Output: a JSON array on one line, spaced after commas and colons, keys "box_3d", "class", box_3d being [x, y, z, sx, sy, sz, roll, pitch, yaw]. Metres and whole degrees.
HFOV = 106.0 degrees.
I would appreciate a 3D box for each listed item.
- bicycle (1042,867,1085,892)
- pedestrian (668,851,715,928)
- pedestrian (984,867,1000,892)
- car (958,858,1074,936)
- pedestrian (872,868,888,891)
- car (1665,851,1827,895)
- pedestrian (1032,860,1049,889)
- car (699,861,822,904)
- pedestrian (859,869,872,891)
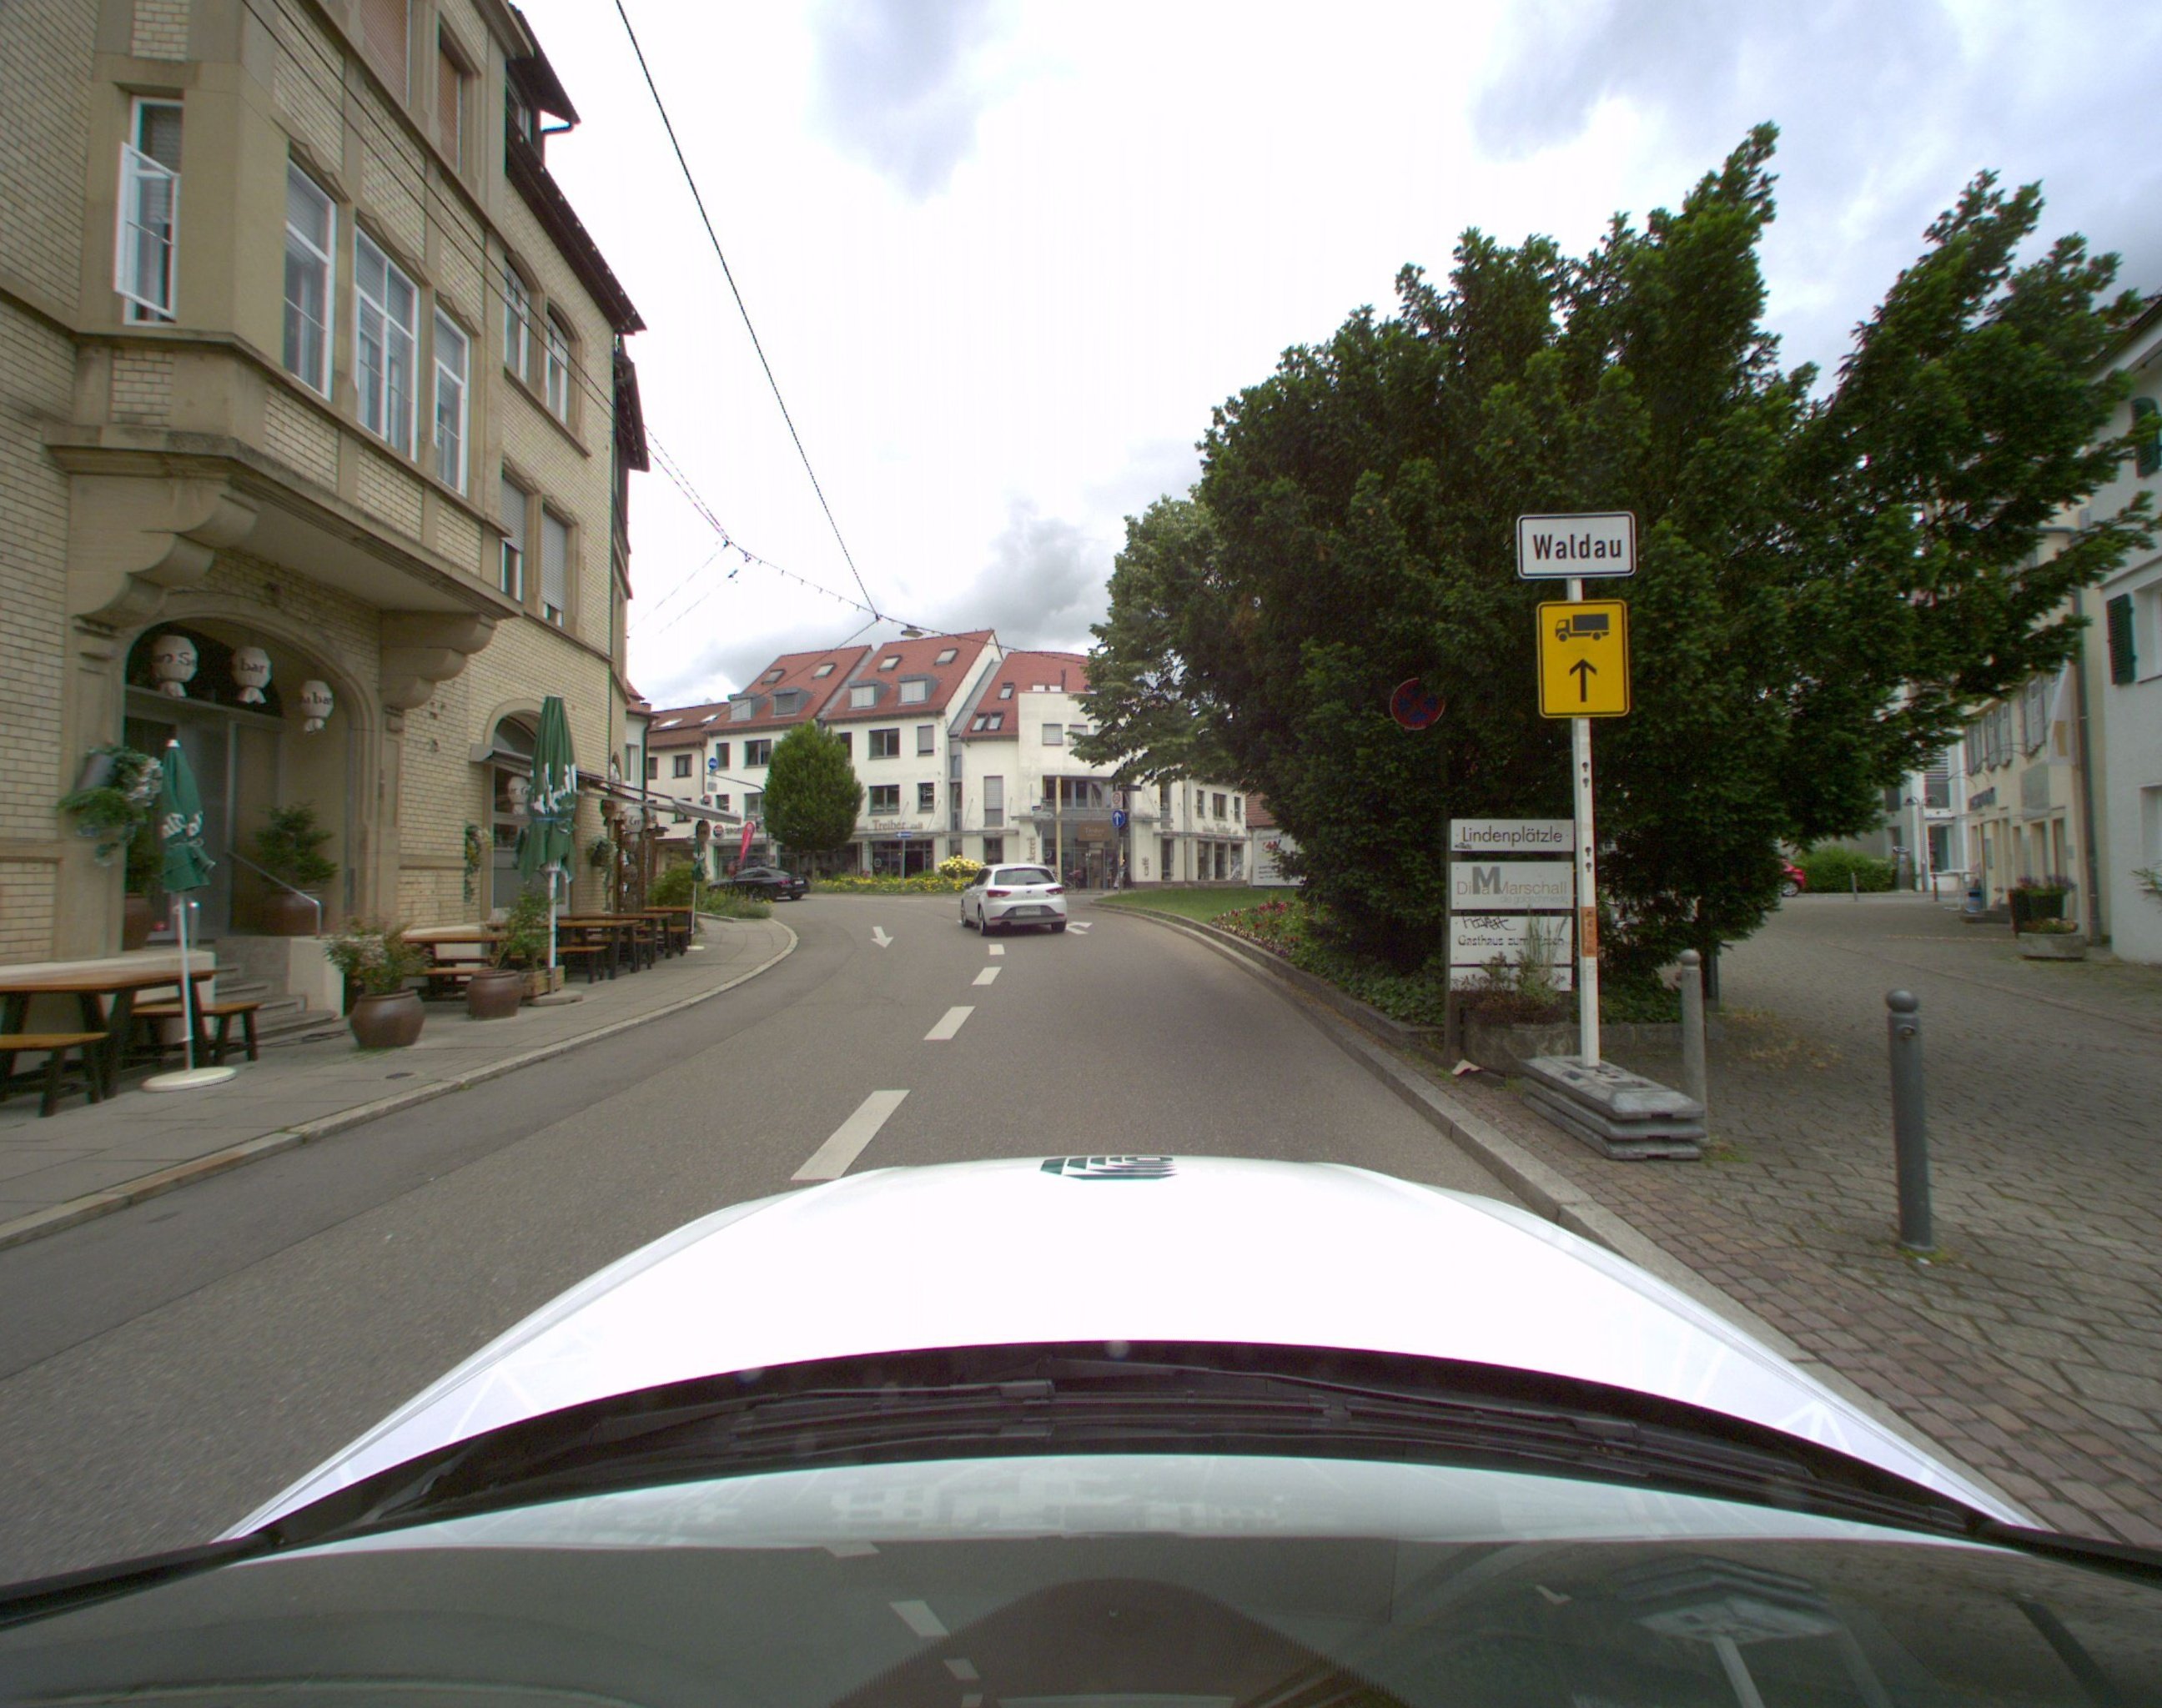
[{"box_3d": [-0.879, 1.247, 39.910, 1.958, 1.240, 0.747, -1, -1, 18], "class": "bicycle"}, {"box_3d": [-10.587, 0.931, 22.125, 1.108, 2.014, 1.005, 0, -1, -27], "class": "pedestrian"}, {"box_3d": [-4.810, 1.360, 44.131, 0.697, 1.332, 0.685, -1, -1, 6], "class": "pedestrian"}, {"box_3d": [-1.538, 0.840, 17.808, 1.847, 1.434, 3.980, 0, 0, -15], "class": "car"}, {"box_3d": [-11.374, 1.451, 46.136, 0.562, 1.318, 0.768, -1, -3, 19], "class": "pedestrian"}, {"box_3d": [25.248, 0.694, 31.112, 4.338, 1.547, 2.132, 0, -1, 14], "class": "car"}, {"box_3d": [-2.126, 1.089, 42.909, 0.697, 1.525, 0.869, -1, -1, 6], "class": "pedestrian"}, {"box_3d": [-13.105, 1.138, 33.397, 4.326, 1.675, 2.050, 0, 0, 16], "class": "car"}, {"box_3d": [-12.296, 1.480, 46.522, 0.486, 1.271, 0.504, -1, -1, 19], "class": "pedestrian"}]
